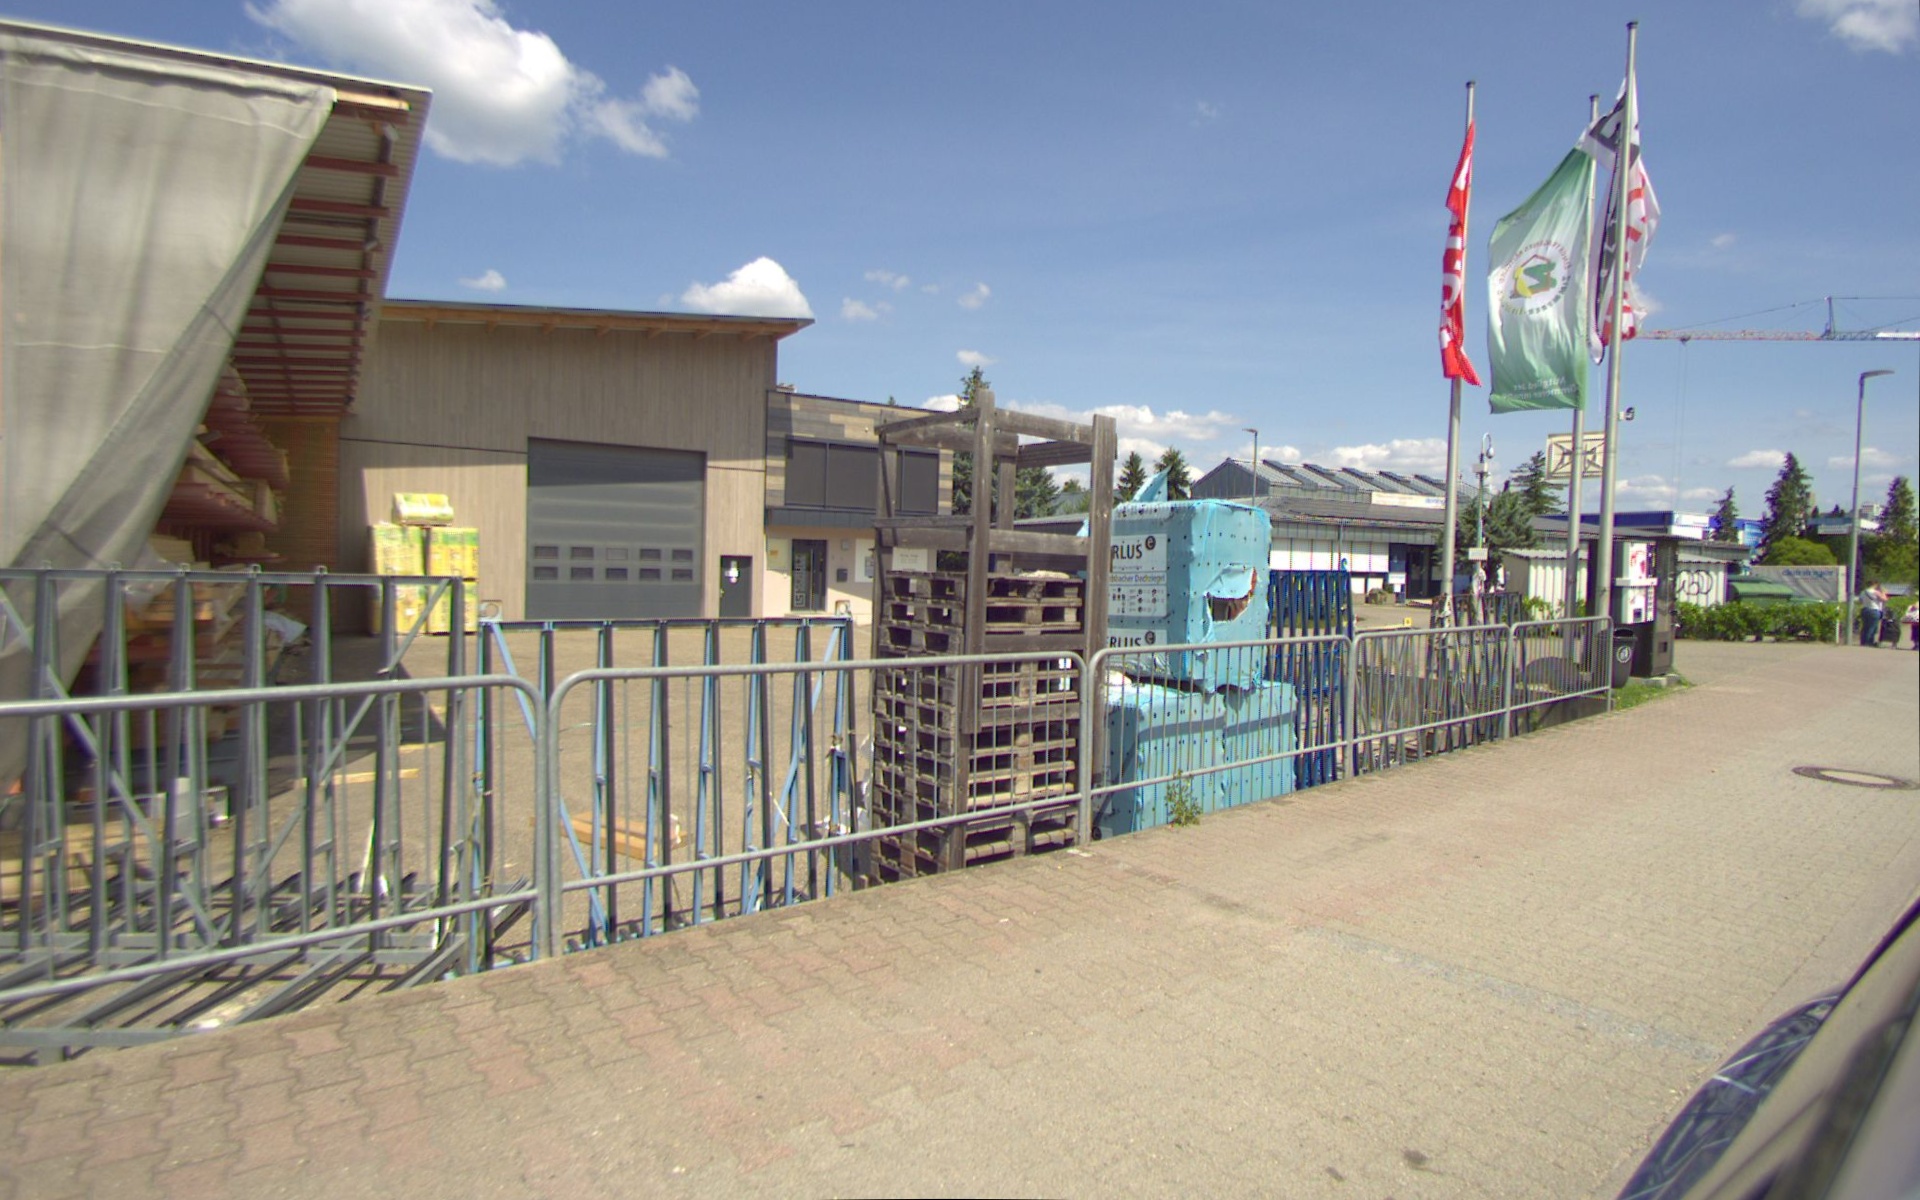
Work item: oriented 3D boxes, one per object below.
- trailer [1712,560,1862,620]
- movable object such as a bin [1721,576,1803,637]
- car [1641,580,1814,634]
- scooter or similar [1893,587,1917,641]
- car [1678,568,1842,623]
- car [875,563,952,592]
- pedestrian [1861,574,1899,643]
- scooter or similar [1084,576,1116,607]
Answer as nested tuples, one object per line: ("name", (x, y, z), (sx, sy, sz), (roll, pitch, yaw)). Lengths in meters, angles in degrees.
("trailer", (30.217, -0.381, 37.064), (1.965, 2.039, 3.993), (3, -1, -42))
("movable object such as a bin", (20.086, 0.155, 25.372), (1.247, 1.476, 1.046), (0, 0, 11))
("car", (22.995, 0.166, 30.428), (1.786, 1.473, 3.852), (0, 2, -41))
("scooter or similar", (21.663, 0.315, 23.200), (0.391, 1.212, 0.334), (-3, 4, -41))
("car", (27.704, -0.220, 35.131), (1.771, 1.653, 4.219), (-3, 5, -43))
("car", (-2.785, -1.381, 61.001), (4.535, 1.693, 1.760), (-2, 3, -42))
("pedestrian", (21.546, 0.197, 23.707), (0.502, 1.558, 0.536), (-2, 5, -43))
("scooter or similar", (6.353, -0.381, 45.934), (0.907, 1.337, 1.116), (-2, 4, -32))
